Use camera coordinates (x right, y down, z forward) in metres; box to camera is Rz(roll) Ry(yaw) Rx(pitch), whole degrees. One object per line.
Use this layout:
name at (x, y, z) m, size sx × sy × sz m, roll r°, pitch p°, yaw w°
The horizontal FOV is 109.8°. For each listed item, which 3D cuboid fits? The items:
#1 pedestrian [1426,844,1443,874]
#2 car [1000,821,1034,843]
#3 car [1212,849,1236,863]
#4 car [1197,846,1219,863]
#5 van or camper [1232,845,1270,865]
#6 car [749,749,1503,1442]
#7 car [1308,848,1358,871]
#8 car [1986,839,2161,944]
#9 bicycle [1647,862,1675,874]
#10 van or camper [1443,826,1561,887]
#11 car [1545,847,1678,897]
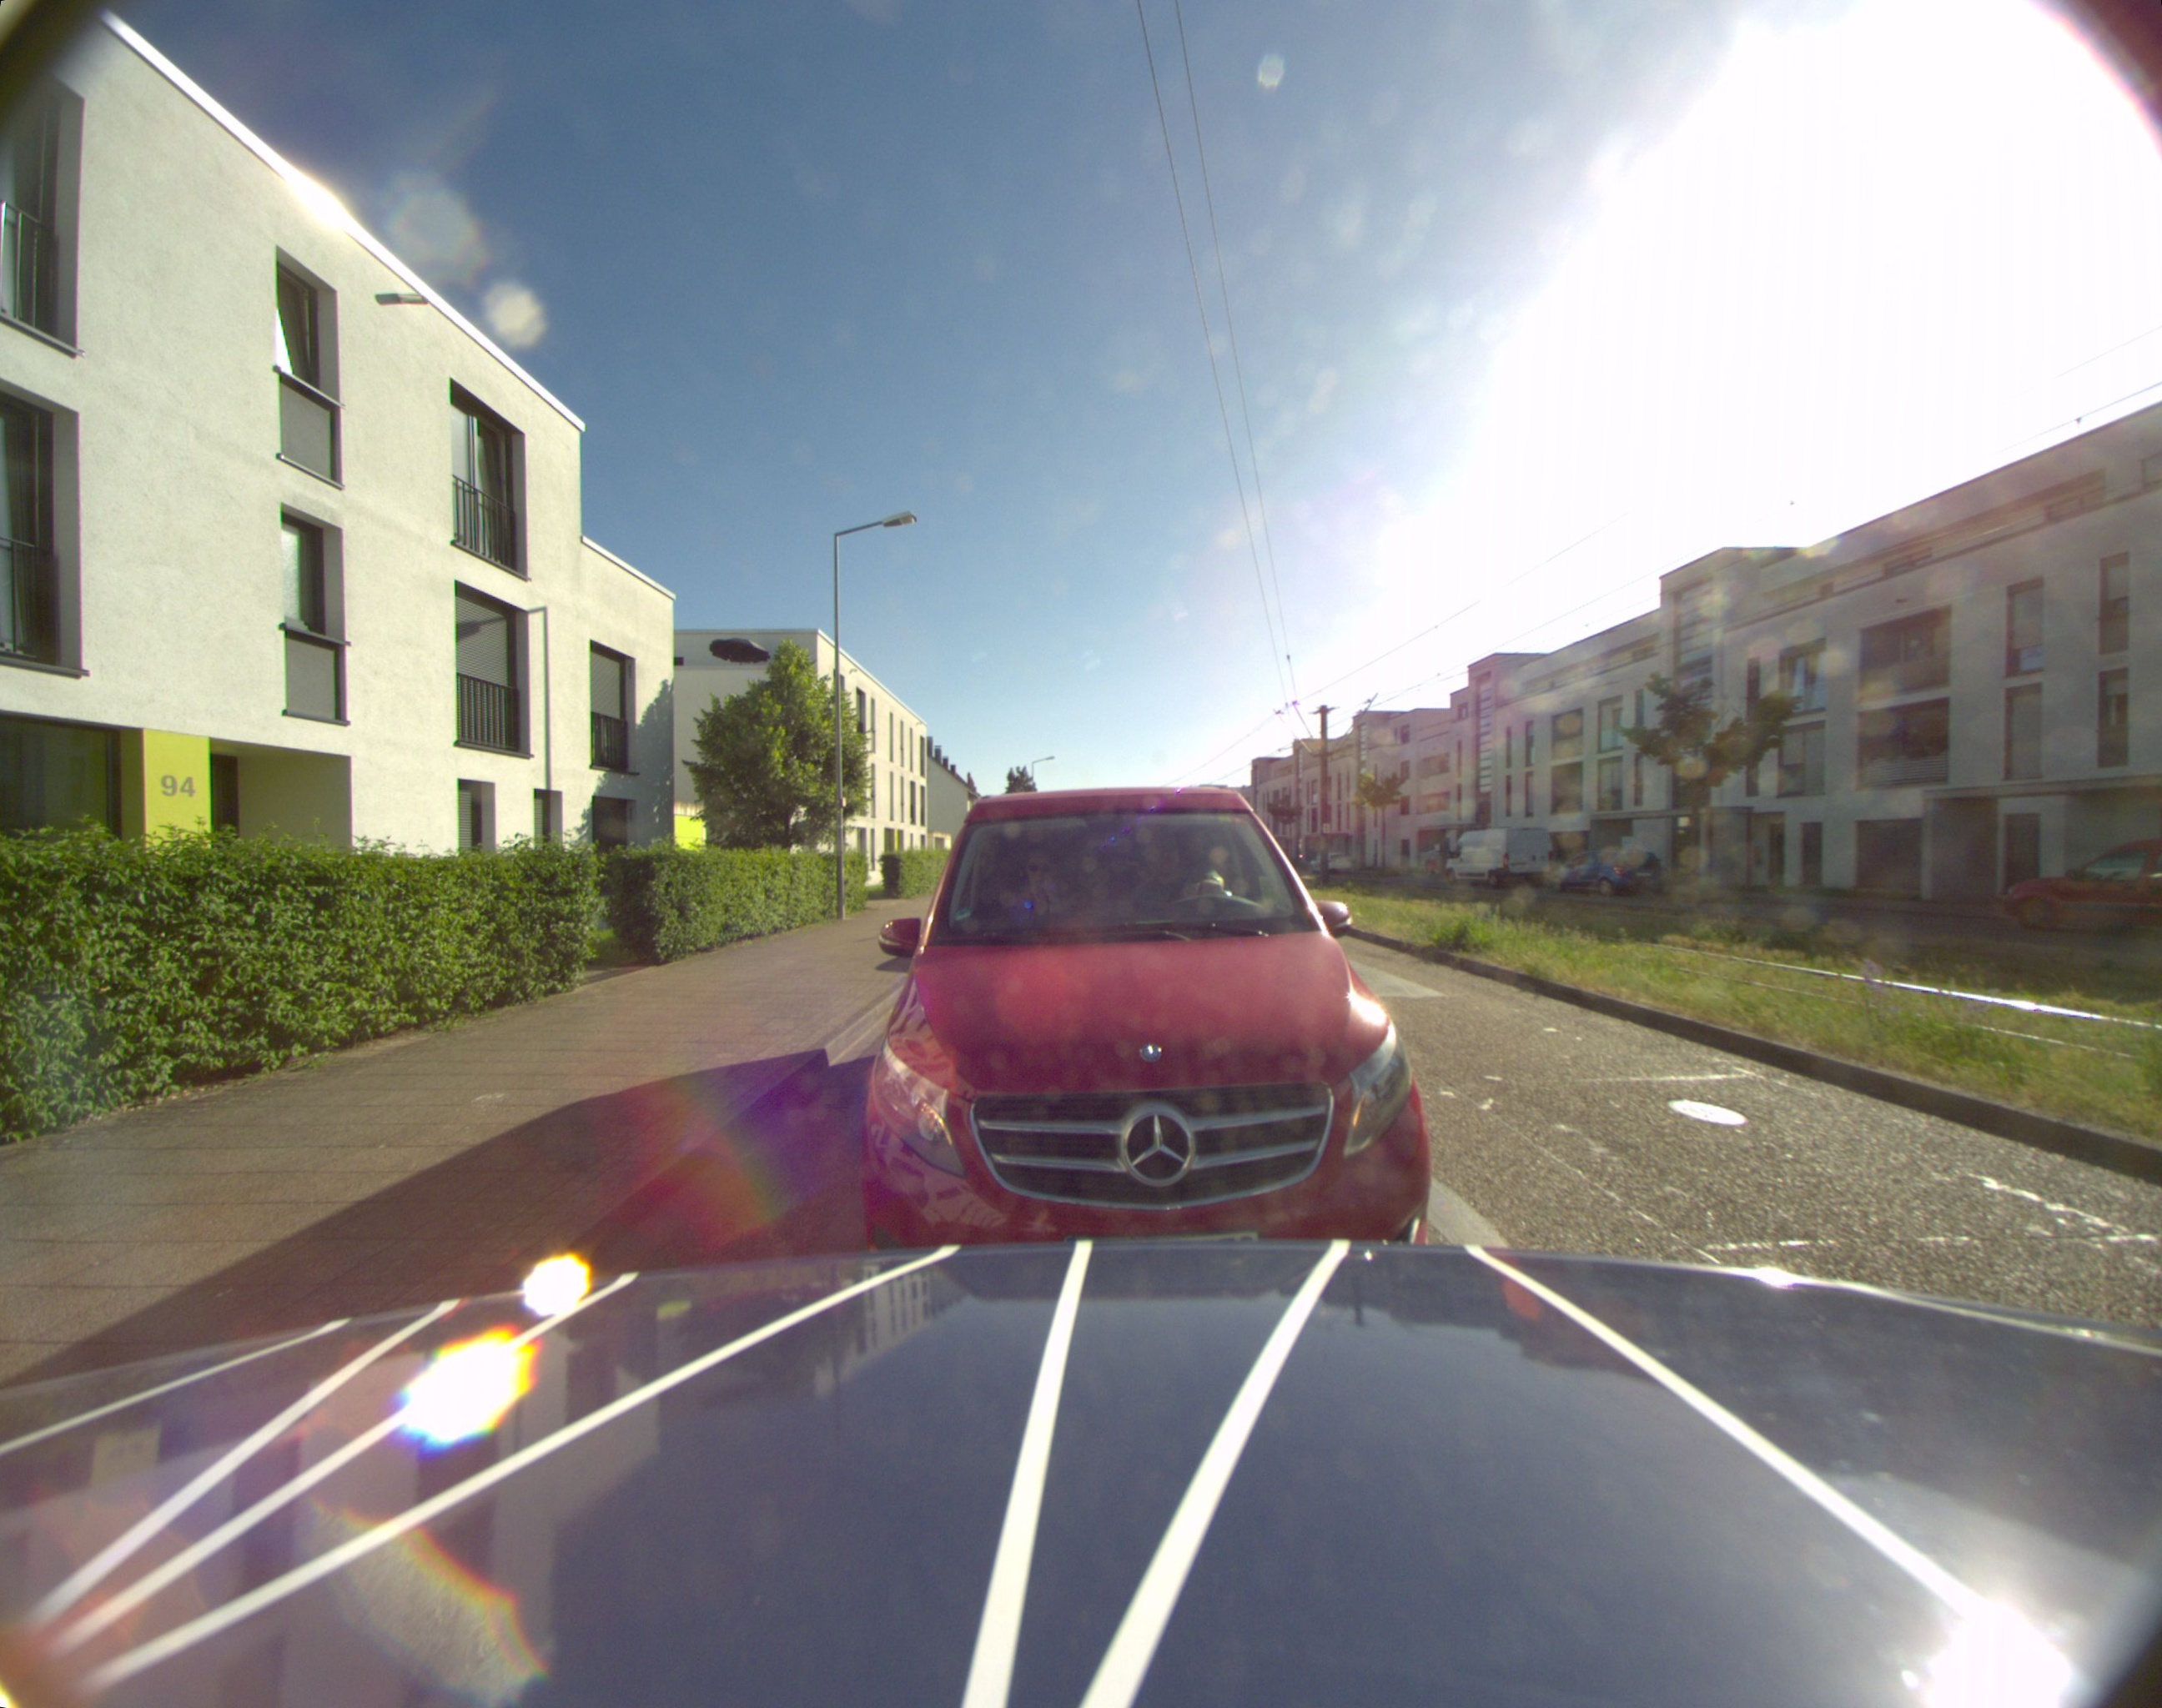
pedestrian at (19.744, 0.298, 42.439) m, size 0.619 × 1.634 × 0.612 m, roll -2°, pitch 1°, yaw -7°
car at (-7.377, -2.494, 88.387) m, size 3.182 × 2.333 × 6.174 m, roll -2°, pitch 1°, yaw 1°
car at (16.231, 0.195, 86.280) m, size 1.867 × 1.430 × 3.496 m, roll -2°, pitch 0°, yaw -4°
car at (15.615, 0.077, 93.854) m, size 1.788 × 2.002 × 3.998 m, roll -2°, pitch 1°, yaw -4°
van or camper at (16.756, 0.058, 75.188) m, size 2.273 × 1.838 × 6.284 m, roll -1°, pitch 1°, yaw -1°
car at (0.167, 0.703, 4.756) m, size 2.127 × 1.958 × 5.083 m, roll -2°, pitch 0°, yaw 1°
car at (17.743, 0.379, 53.702) m, size 2.047 × 1.577 × 4.120 m, roll 0°, pitch 1°, yaw -3°
car at (18.463, 0.615, 12.777) m, size 1.793 × 1.713 × 3.908 m, roll 1°, pitch 1°, yaw 1°
bicycle at (24.955, 0.605, 32.702) m, size 0.354 × 0.495 × 1.061 m, roll 0°, pitch 0°, yaw -1°
van or camper at (18.157, 0.068, 33.122) m, size 2.197 × 2.450 × 5.259 m, roll 0°, pitch 1°, yaw 0°
car at (18.248, 0.551, 26.374) m, size 1.934 × 1.604 × 3.835 m, roll 0°, pitch 1°, yaw 0°
